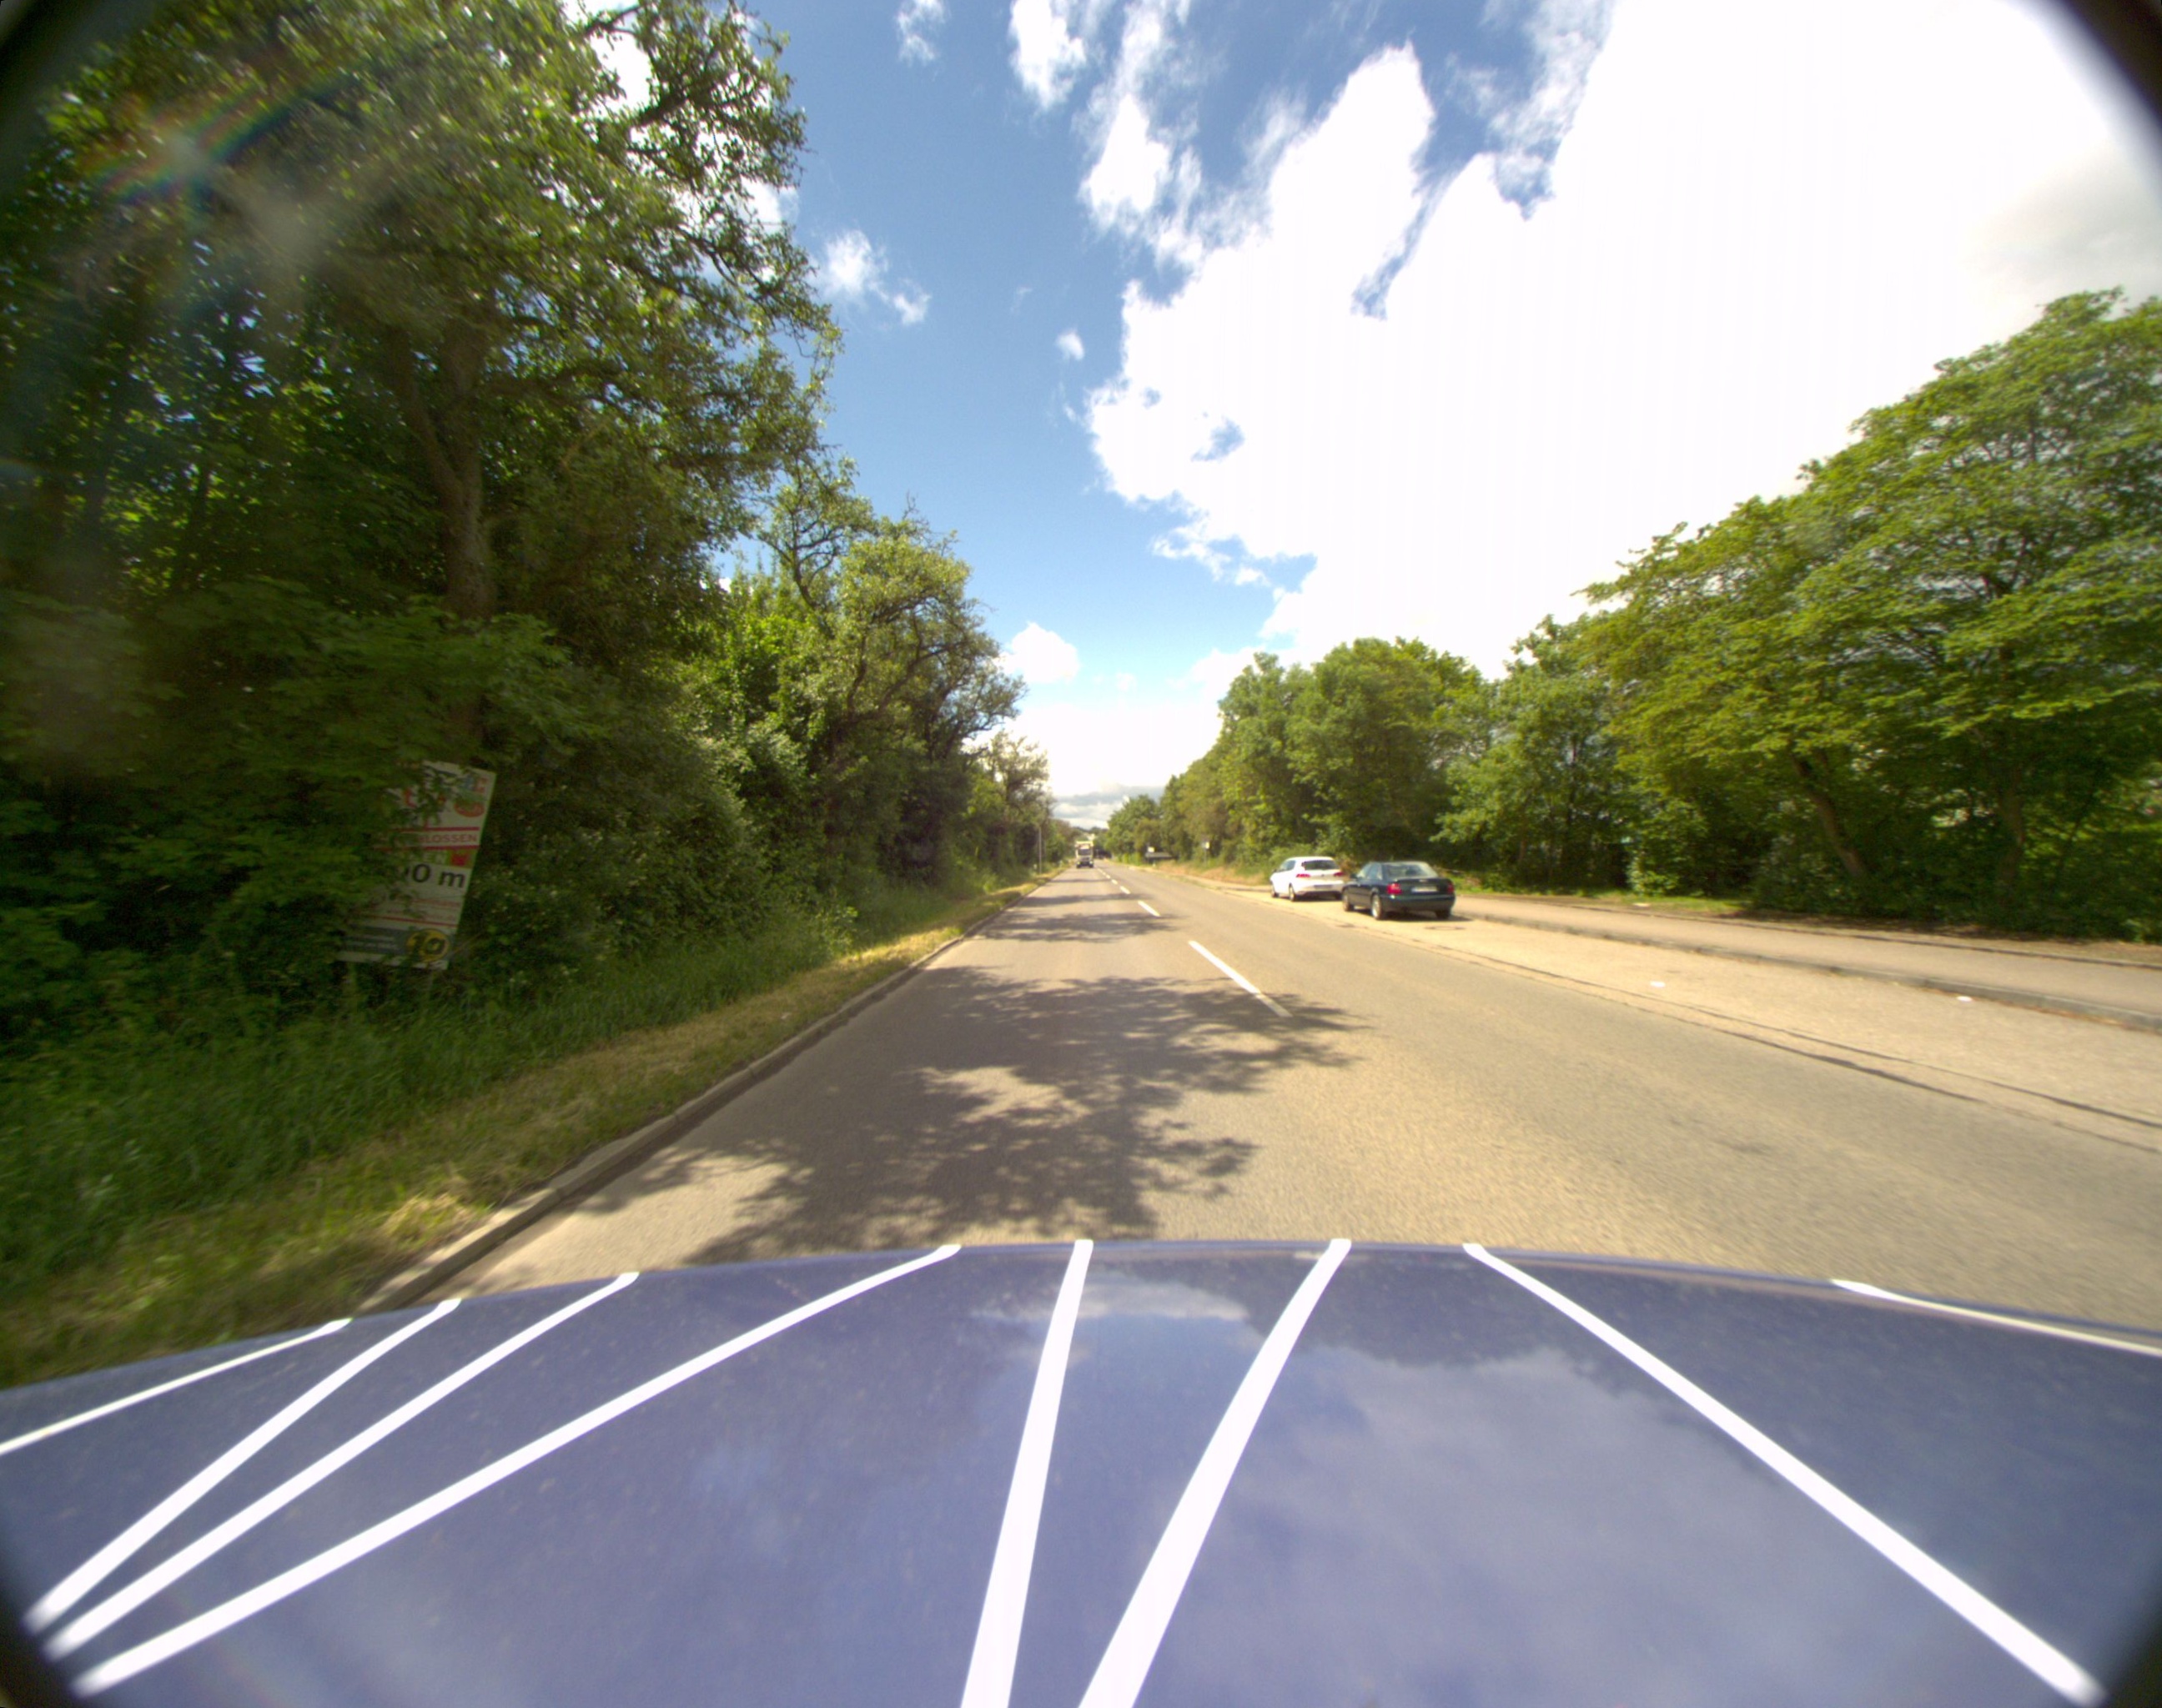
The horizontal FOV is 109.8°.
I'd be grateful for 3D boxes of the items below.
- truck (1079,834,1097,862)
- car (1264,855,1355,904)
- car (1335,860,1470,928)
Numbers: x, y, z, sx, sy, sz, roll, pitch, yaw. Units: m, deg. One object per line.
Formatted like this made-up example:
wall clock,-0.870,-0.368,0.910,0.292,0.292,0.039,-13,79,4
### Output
truck,1.031,-0.908,109.815,2.306,3.790,8.182,-3,0,0
car,7.826,0.831,26.430,1.772,1.461,4.245,-3,0,-1
car,7.924,0.918,19.166,1.772,1.399,4.266,-3,0,3
